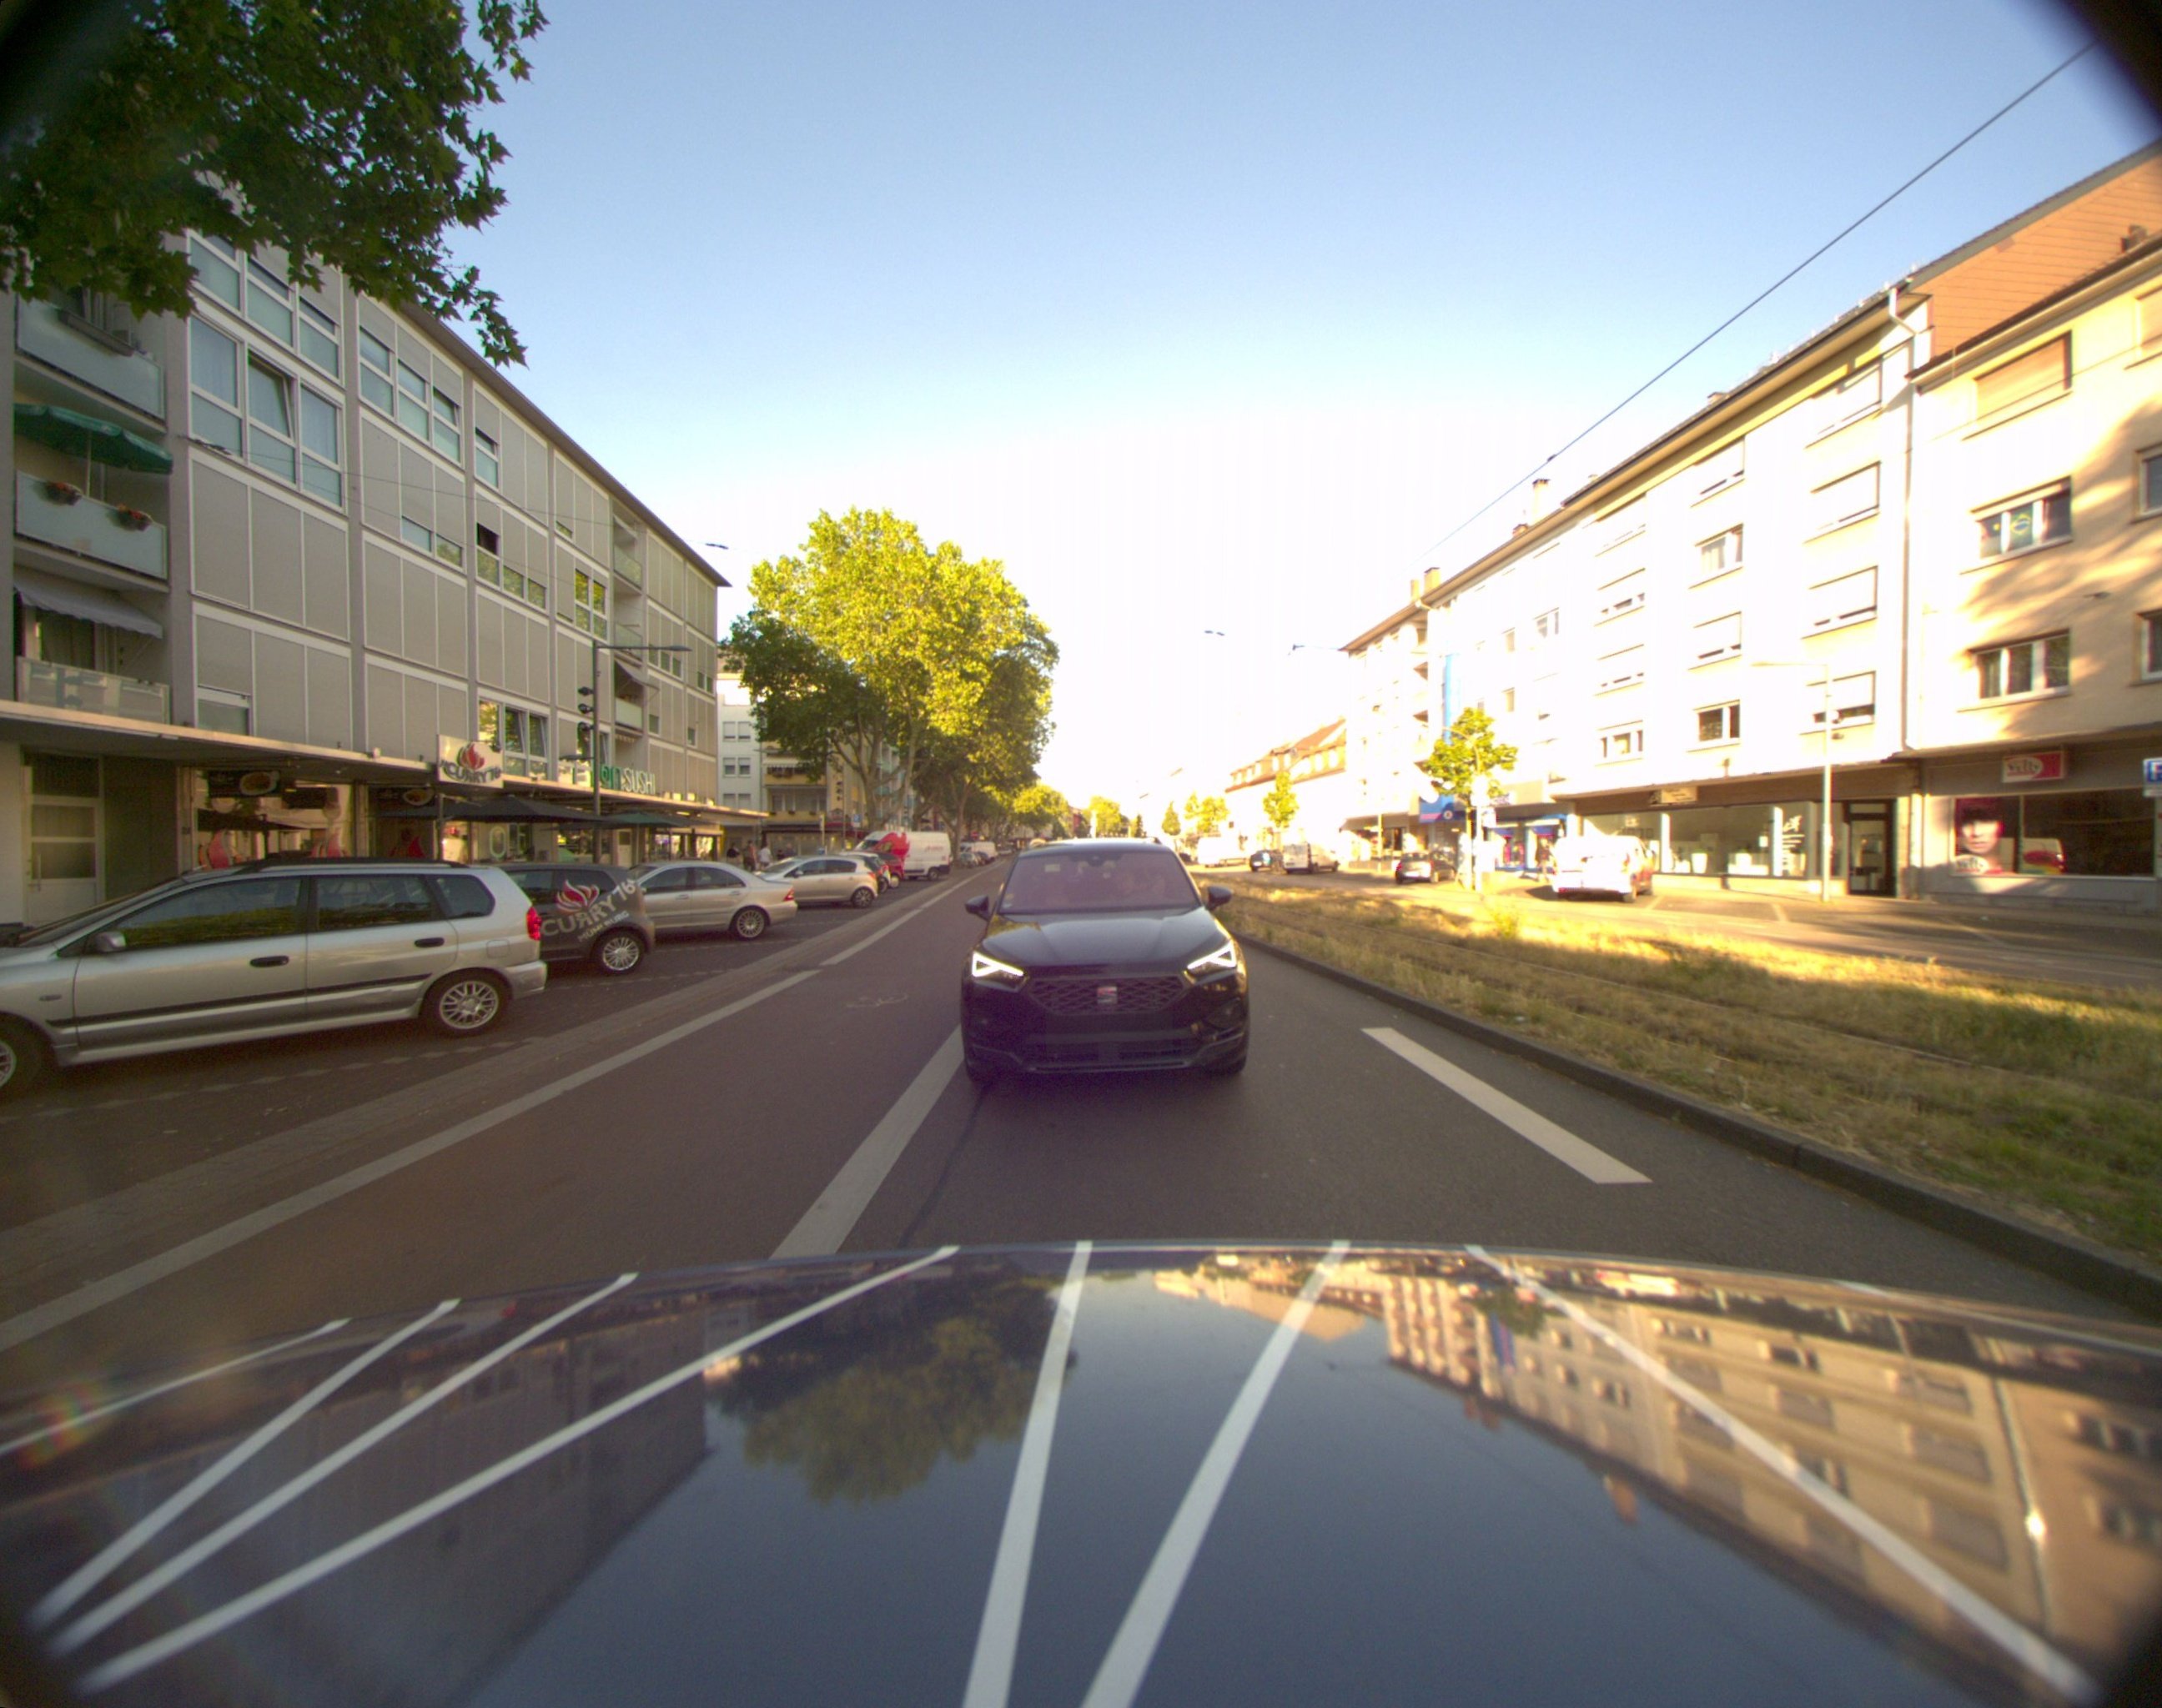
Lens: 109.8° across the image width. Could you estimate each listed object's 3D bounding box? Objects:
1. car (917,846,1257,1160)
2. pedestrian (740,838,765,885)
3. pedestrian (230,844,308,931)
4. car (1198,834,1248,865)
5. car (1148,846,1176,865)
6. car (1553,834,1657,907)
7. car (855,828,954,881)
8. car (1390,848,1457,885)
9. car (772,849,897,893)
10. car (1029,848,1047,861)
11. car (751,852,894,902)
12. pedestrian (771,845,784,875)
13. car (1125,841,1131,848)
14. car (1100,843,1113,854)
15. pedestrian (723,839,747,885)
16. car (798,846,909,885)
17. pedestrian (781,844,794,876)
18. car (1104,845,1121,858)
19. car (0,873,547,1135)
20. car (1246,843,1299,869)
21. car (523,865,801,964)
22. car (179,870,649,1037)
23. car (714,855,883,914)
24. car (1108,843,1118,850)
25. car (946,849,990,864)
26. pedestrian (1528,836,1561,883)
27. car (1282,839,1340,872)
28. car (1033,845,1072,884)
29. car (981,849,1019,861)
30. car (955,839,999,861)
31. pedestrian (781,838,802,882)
[{"bbox_3d":[0.072,0.795,6.130,1.784,1.639,3.999,-2,1,1],"label":"car"},{"bbox_3d":[-14.160,0.334,32.752,0.748,2.002,0.764,0,1,-4],"label":"pedestrian"},{"bbox_3d":[-15.120,0.610,14.163,0.583,1.573,0.771,0,1,2],"label":"pedestrian"},{"bbox_3d":[12.924,-0.424,68.628,1.922,2.599,6.601,-1,1,34],"label":"car"},{"bbox_3d":[7.338,0.121,68.884,1.846,1.571,4.449,-1,1,-2],"label":"car"},{"bbox_3d":[15.621,0.419,22.562,1.853,1.888,4.007,-1,2,44],"label":"car"},{"bbox_3d":[-8.725,0.050,37.863,4.606,2.479,1.672,0,0,-44],"label":"car"},{"bbox_3d":[15.350,0.522,33.944,1.731,1.431,4.008,-1,1,40],"label":"car"},{"bbox_3d":[-8.839,0.619,27.309,3.948,1.421,1.672,2,2,-32],"label":"car"},{"bbox_3d":[-4.940,0.052,87.588,1.729,1.443,4.227,-2,1,-1],"label":"car"},{"bbox_3d":[-8.153,0.711,24.077,3.949,1.420,1.672,1,1,-34],"label":"car"},{"bbox_3d":[-16.598,0.349,41.539,0.537,1.630,0.478,0,1,-4],"label":"pedestrian"},{"bbox_3d":[15.361,-3.133,249.964,1.842,2.002,4.001,0,1,4],"label":"car"},{"bbox_3d":[4.724,-1.024,141.273,1.906,2.002,3.998,0,1,-5],"label":"car"},{"bbox_3d":[-14.999,0.338,32.927,0.748,1.964,0.575,0,1,-4],"label":"pedestrian"},{"bbox_3d":[-9.112,0.487,30.557,3.948,1.421,1.672,1,2,-32],"label":"car"},{"bbox_3d":[-16.048,0.318,41.571,0.545,1.710,0.457,0,1,-4],"label":"pedestrian"},{"bbox_3d":[4.552,-0.371,110.074,1.999,1.783,3.998,0,1,-4],"label":"car"},{"bbox_3d":[-6.867,0.984,6.028,1.672,1.533,3.993,2,1,38],"label":"car"},{"bbox_3d":[13.816,0.137,54.670,3.922,1.704,1.853,-3,2,-45],"label":"car"},{"bbox_3d":[-7.165,0.923,13.309,1.592,1.393,3.950,2,1,41],"label":"car"},{"bbox_3d":[-7.596,0.954,9.023,1.672,1.420,3.949,2,1,38],"label":"car"},{"bbox_3d":[-7.548,0.779,20.537,3.950,1.420,1.555,1,1,-45],"label":"car"},{"bbox_3d":[8.328,-1.925,198.776,2.498,1.871,5.273,0,1,1],"label":"car"},{"bbox_3d":[-10.815,0.229,72.804,1.778,1.396,3.943,1,1,44],"label":"car"},{"bbox_3d":[18.602,0.211,30.509,0.757,1.817,0.917,-1,1,-2],"label":"pedestrian"},{"bbox_3d":[14.523,0.062,47.814,1.853,1.927,4.513,-1,1,40],"label":"car"},{"bbox_3d":[-1.255,0.449,35.115,1.646,1.646,3.999,-2,1,-1],"label":"car"},{"bbox_3d":[-8.781,0.104,82.583,1.778,1.326,3.943,1,1,44],"label":"car"},{"bbox_3d":[-11.620,-0.474,85.056,1.973,2.455,4.605,1,1,44],"label":"car"},{"bbox_3d":[-13.235,0.260,34.705,0.748,2.002,0.559,0,1,-4],"label":"pedestrian"}]
